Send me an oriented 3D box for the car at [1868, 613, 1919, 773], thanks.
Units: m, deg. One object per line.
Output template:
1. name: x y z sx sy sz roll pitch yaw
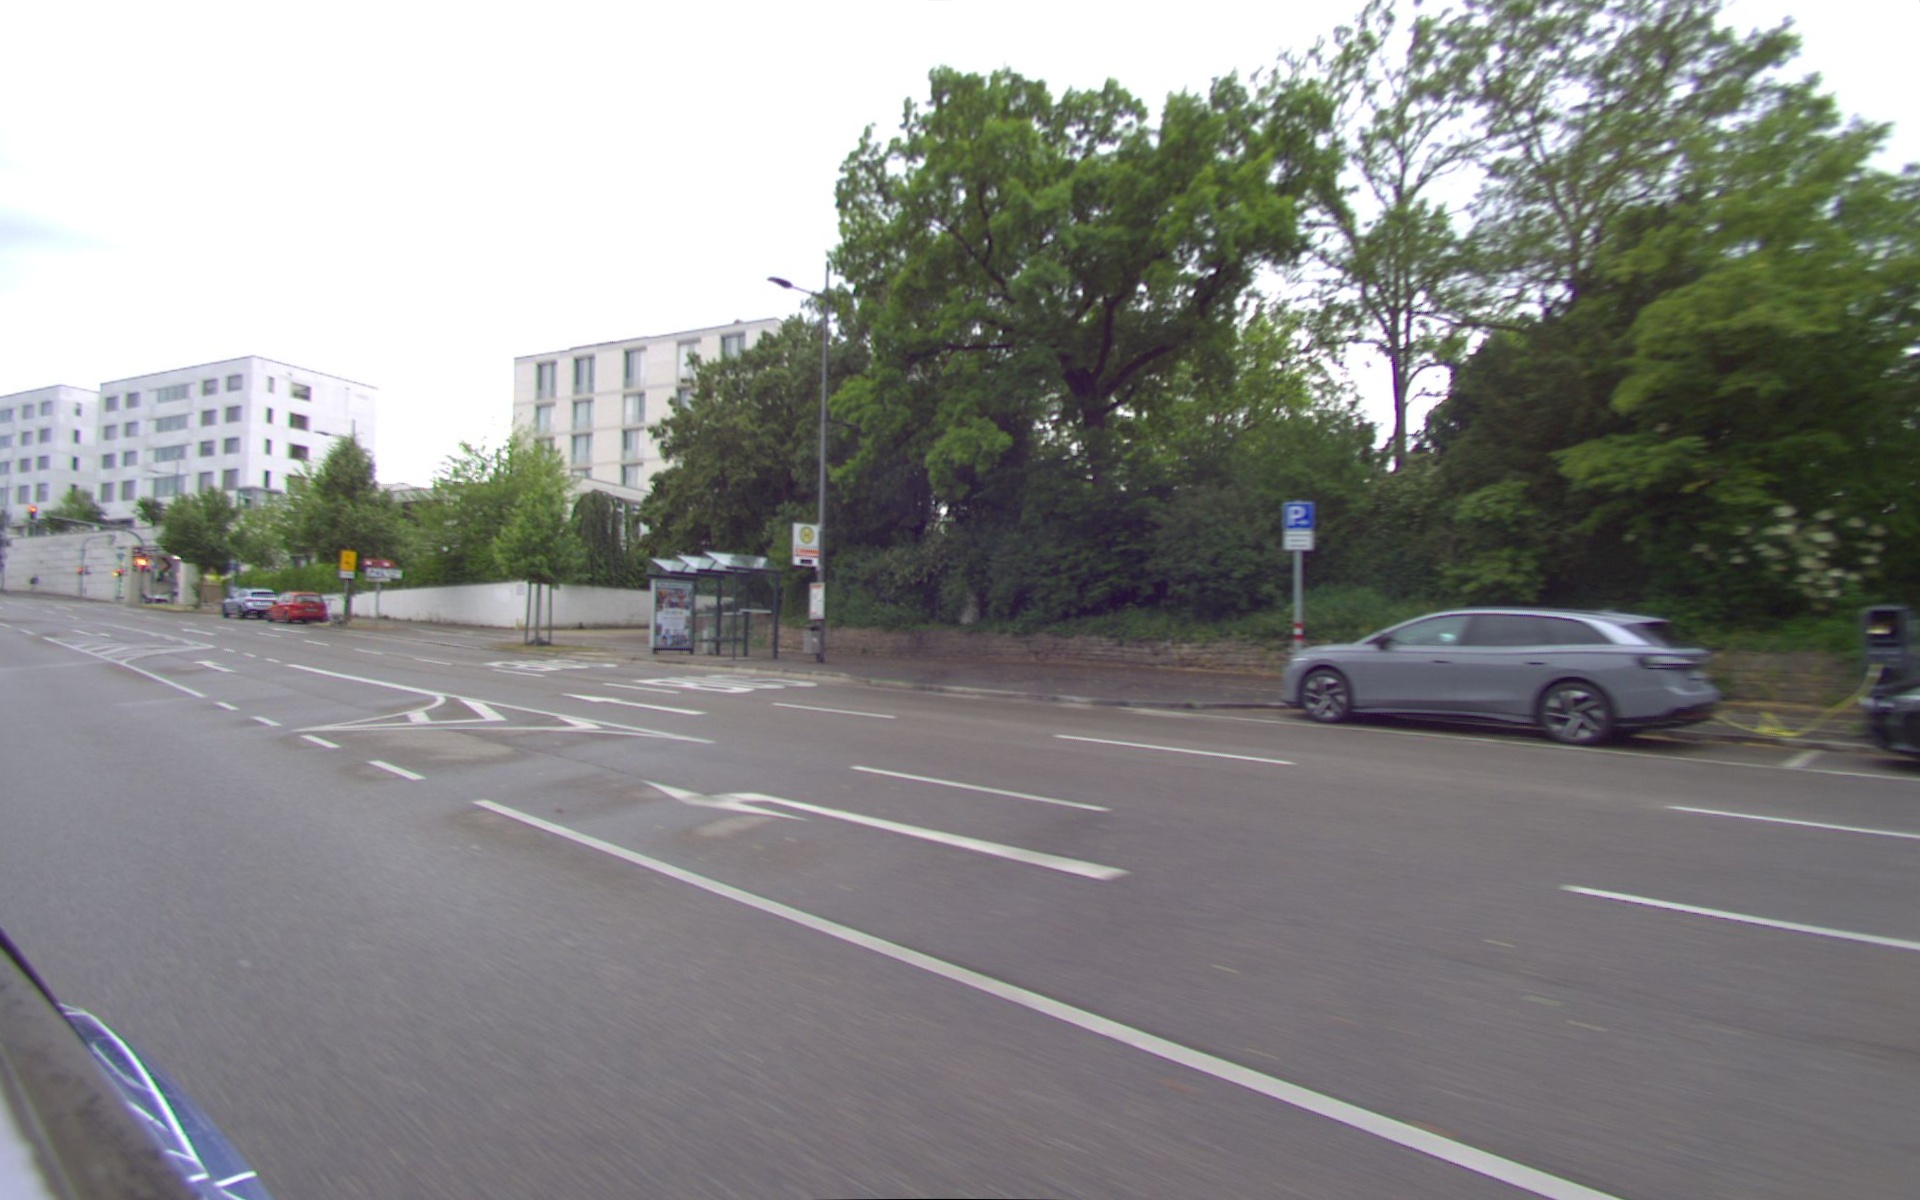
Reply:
1. car: 10.600 0.820 8.114 1.883 1.425 4.788 1 -1 -42

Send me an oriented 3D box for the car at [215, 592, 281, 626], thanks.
1. car: -38.976 0.478 55.383 4.880 1.666 1.746 2 0 40

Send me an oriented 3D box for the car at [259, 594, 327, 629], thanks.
1. car: -33.569 0.569 50.899 4.214 1.599 1.648 2 -2 40

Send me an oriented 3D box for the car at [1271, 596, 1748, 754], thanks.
1. car: 6.584 0.786 12.662 1.819 1.601 4.934 1 -1 -42

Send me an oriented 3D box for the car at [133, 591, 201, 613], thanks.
1. car: -71.794 0.178 91.690 1.987 1.664 4.314 2 -2 22
